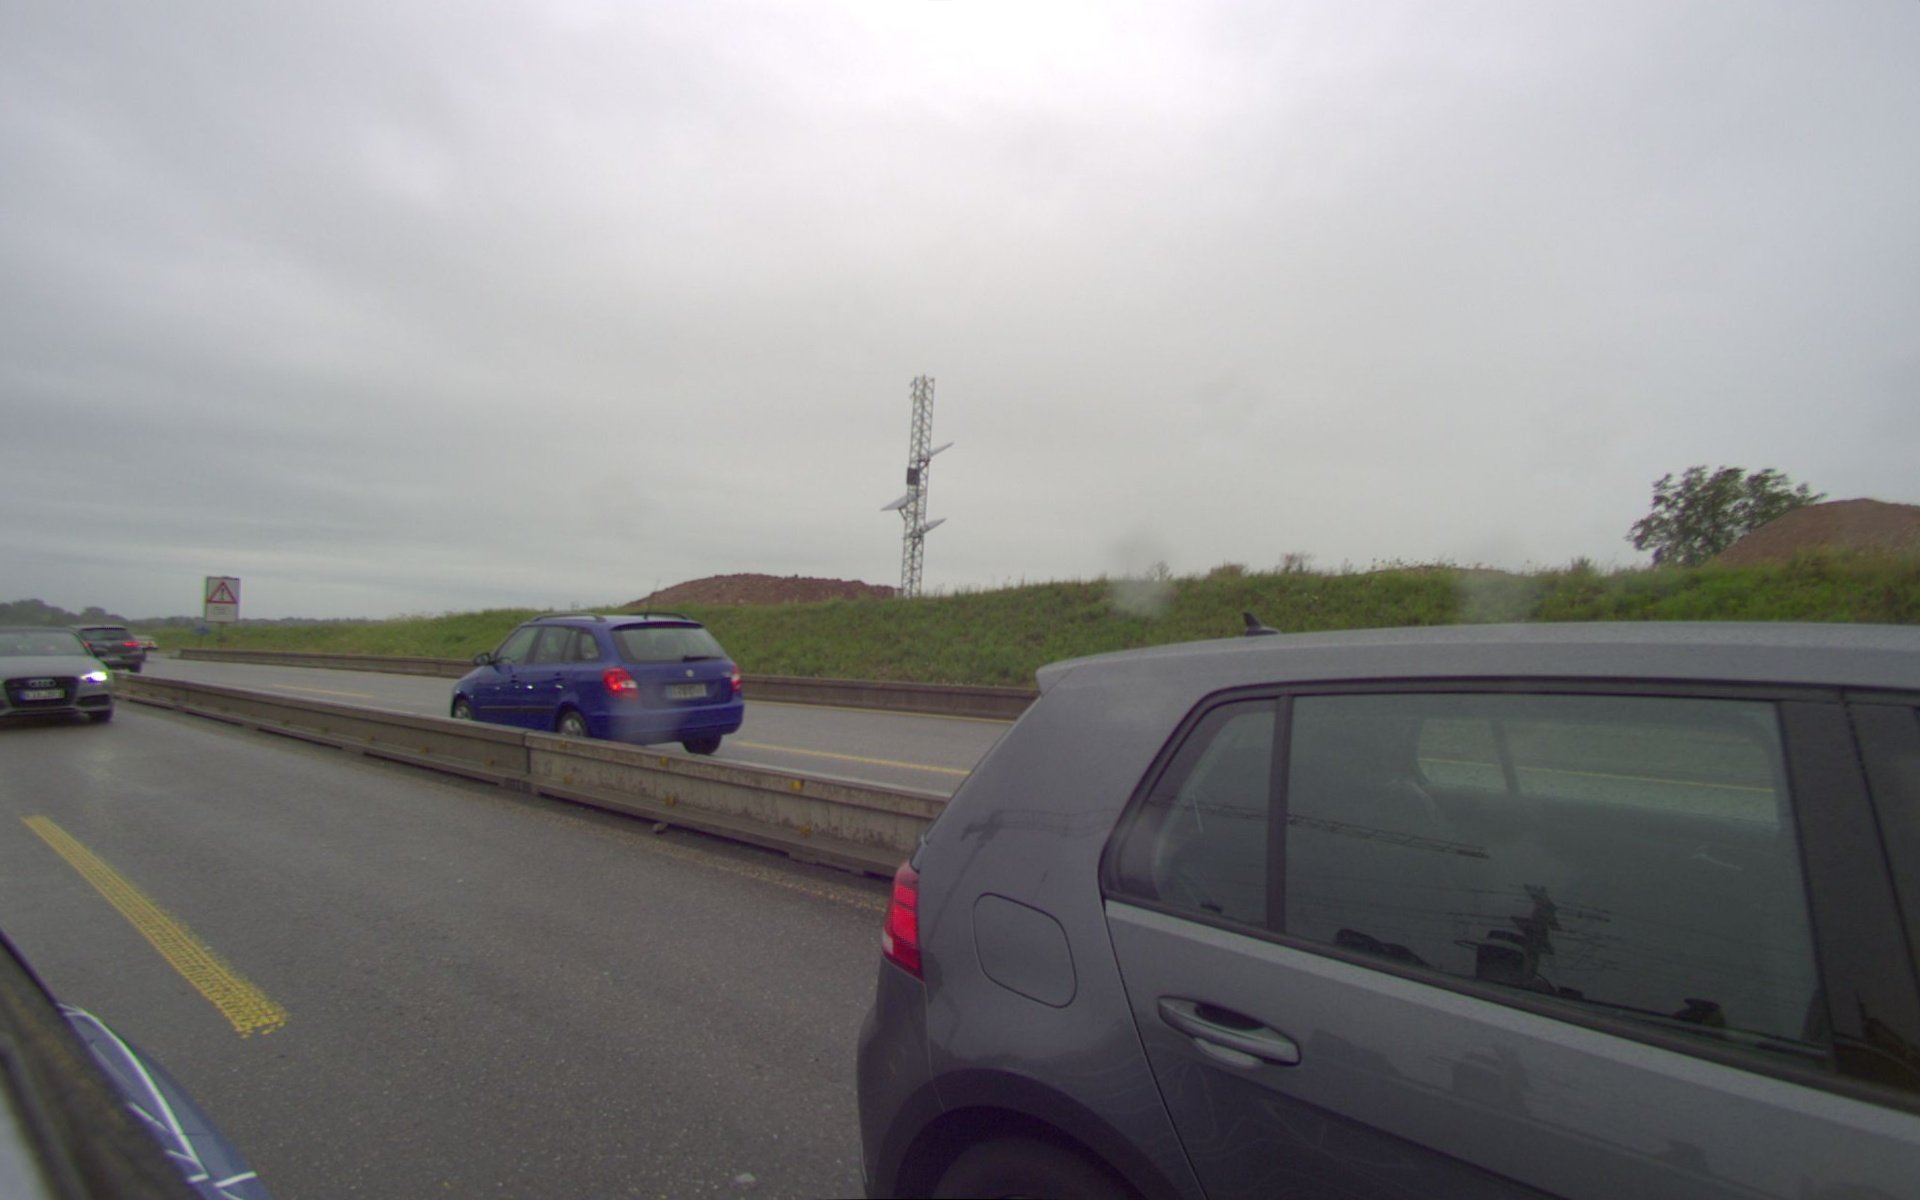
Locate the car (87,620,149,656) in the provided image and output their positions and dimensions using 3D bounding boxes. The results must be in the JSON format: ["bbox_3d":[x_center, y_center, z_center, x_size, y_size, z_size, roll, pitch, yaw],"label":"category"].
[{"bbox_3d":[-36.044,1.620,43.303,3.714,1.475,1.344,0,-3,40],"label":"car"}]

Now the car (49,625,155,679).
[{"bbox_3d":[-25.177,1.475,29.663,3.704,1.437,1.771,-1,-1,40],"label":"car"}]

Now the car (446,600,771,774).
[{"bbox_3d":[-3.842,0.786,10.756,3.828,1.514,1.631,-1,-1,42],"label":"car"}]

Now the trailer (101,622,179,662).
[{"bbox_3d":[-33.036,1.679,40.741,4.157,1.475,1.614,0,-3,40],"label":"trailer"}]

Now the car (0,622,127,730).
[{"bbox_3d":[-14.015,1.048,15.092,4.085,1.393,1.781,0,-1,41],"label":"car"}]

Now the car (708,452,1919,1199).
[{"bbox_3d":[1.653,0.658,1.220,4.367,1.518,1.597,0,-3,42],"label":"car"}]
